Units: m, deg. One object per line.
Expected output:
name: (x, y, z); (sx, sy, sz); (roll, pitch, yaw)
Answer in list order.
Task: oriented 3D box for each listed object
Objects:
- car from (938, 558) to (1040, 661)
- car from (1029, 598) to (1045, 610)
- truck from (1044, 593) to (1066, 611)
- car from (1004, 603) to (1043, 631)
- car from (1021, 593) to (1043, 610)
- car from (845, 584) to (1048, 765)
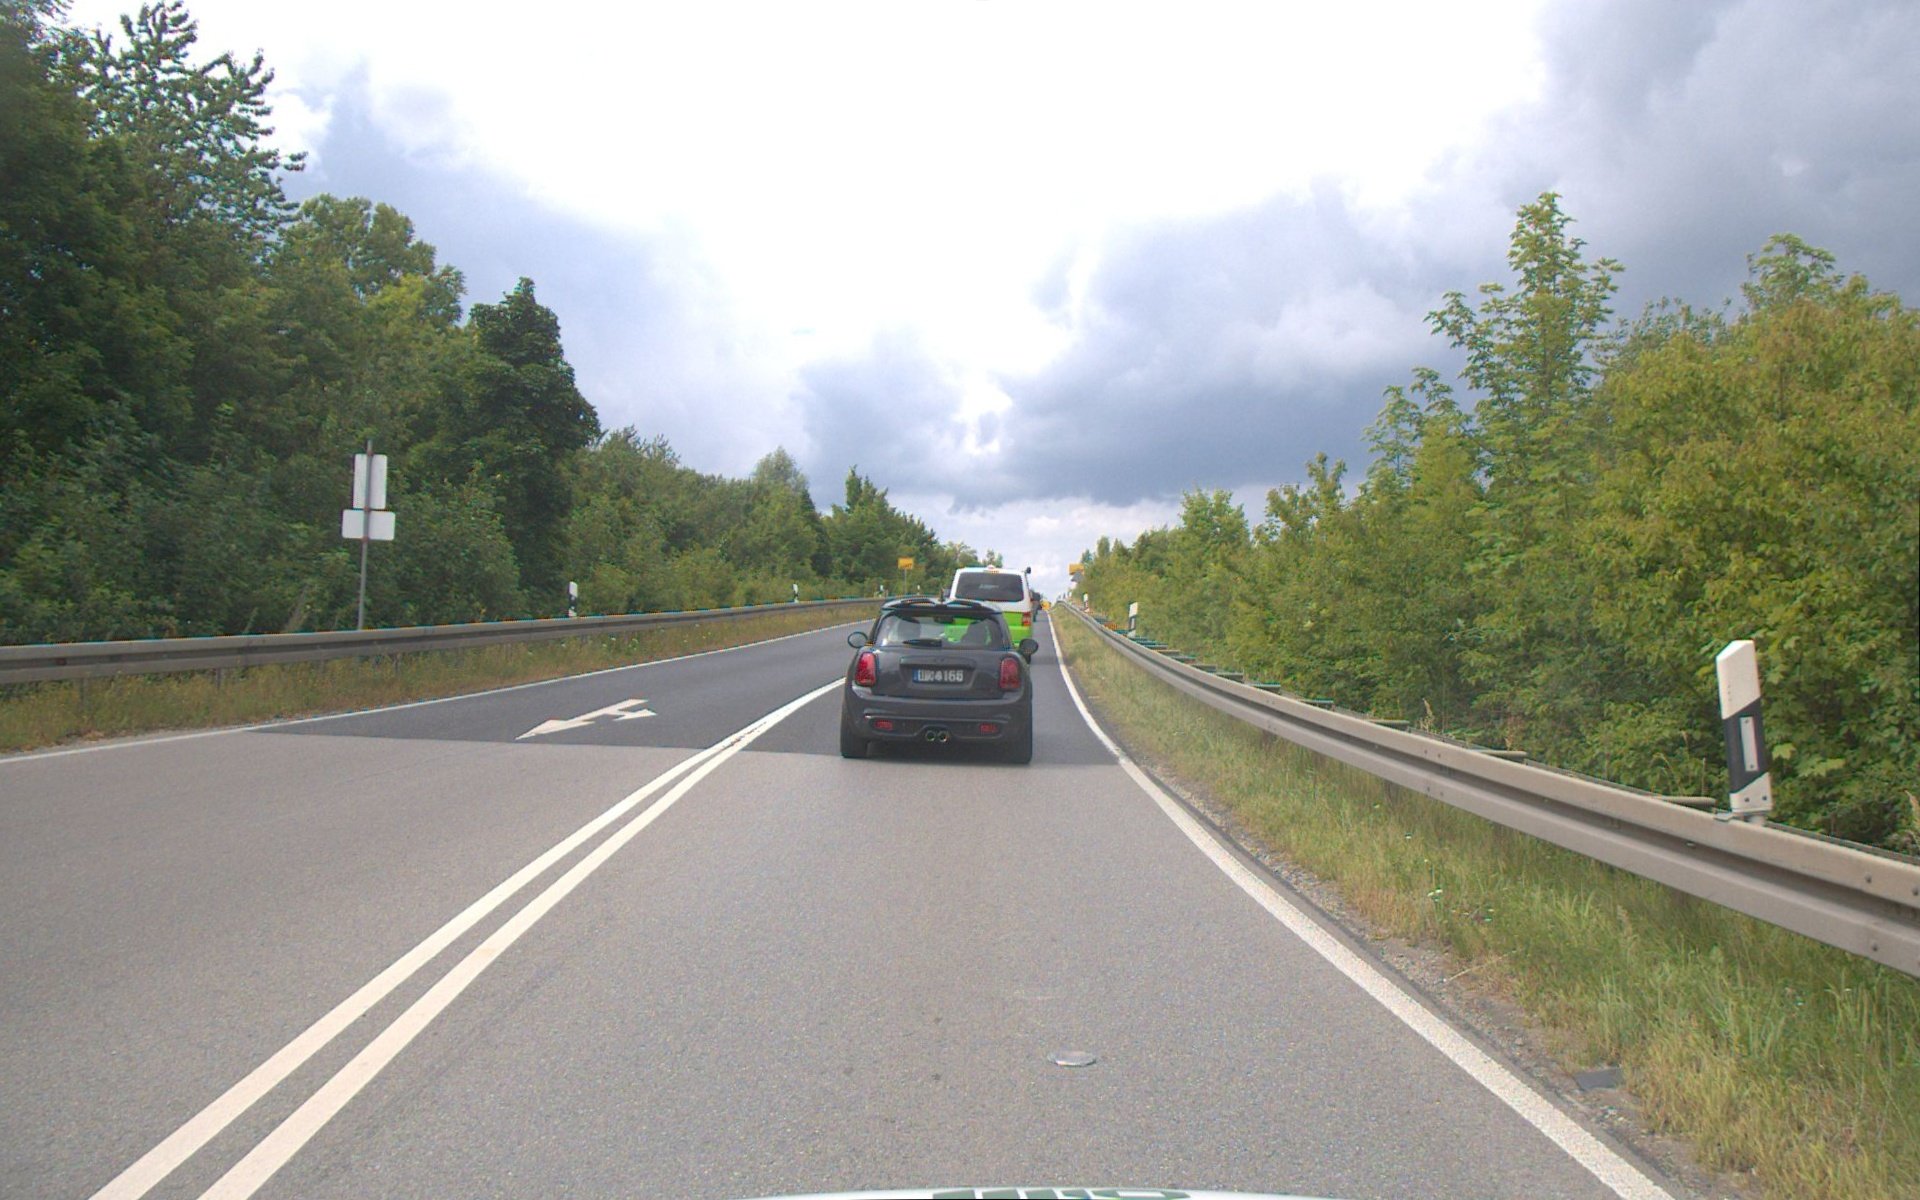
car: (0.696, 0.180, 35.978); (1.980, 2.048, 4.002); (2, 0, 3)
car: (8.509, 0.420, 181.836); (1.658, 1.342, 4.002); (0, 1, 5)
truck: (12.995, 0.241, 225.102); (2.848, 2.413, 10.457); (-1, 0, 4)
car: (2.968, 0.774, 76.553); (1.658, 1.243, 4.002); (0, 0, 5)
car: (5.939, 0.075, 135.436); (1.658, 1.342, 4.002); (0, 1, 5)
car: (-0.197, 0.621, 16.099); (1.697, 1.481, 3.998); (1, 1, -3)
